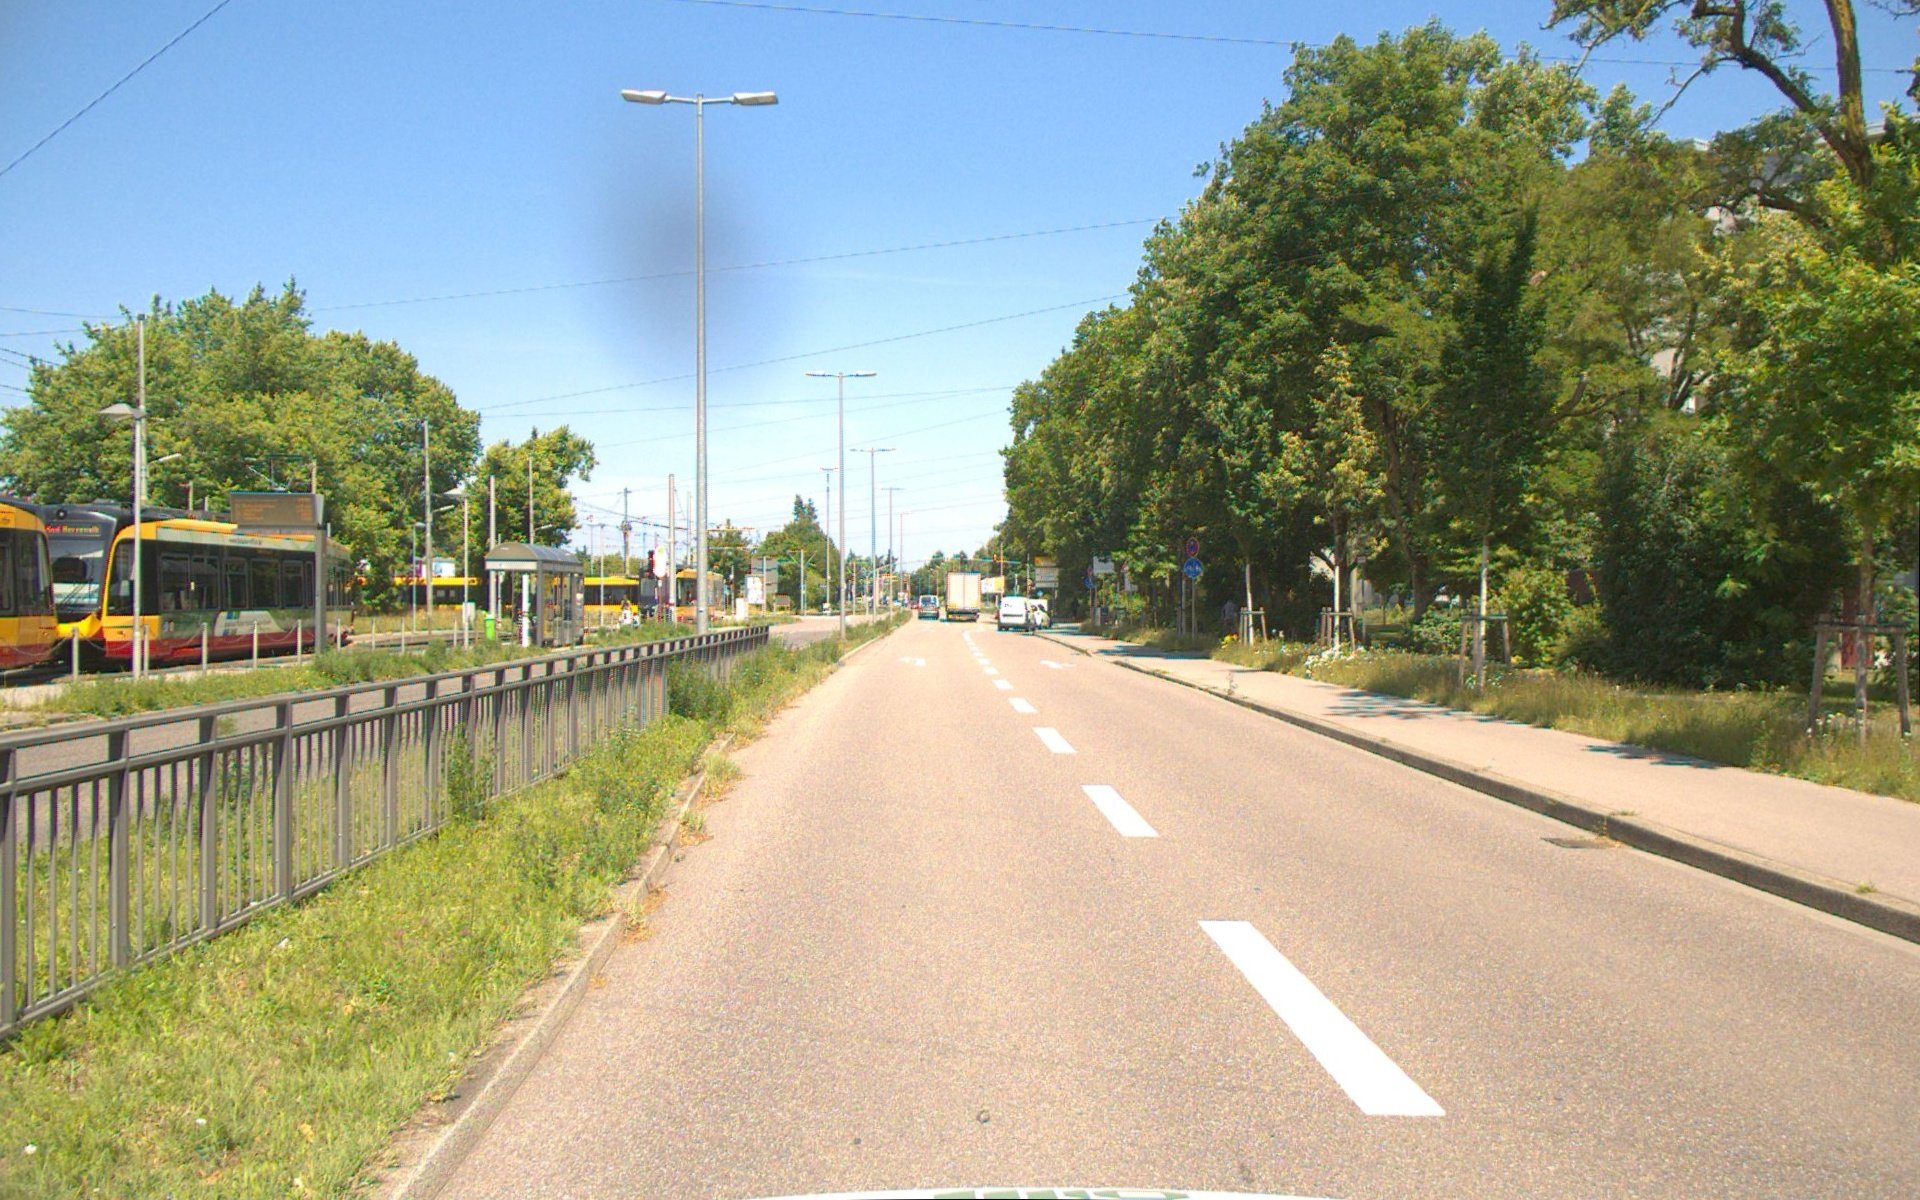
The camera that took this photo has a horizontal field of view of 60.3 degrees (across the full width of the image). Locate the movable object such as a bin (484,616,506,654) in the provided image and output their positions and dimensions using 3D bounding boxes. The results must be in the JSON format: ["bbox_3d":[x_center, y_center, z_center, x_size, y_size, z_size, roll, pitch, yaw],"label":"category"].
[{"bbox_3d":[-12.633,0.946,44.916,0.472,0.995,0.644,0,0,-5],"label":"movable object such as a bin"}]

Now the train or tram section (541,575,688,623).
[{"bbox_3d":[-27.129,-0.117,129.550,12.474,3.526,3.040,1,0,31],"label":"train or tram section"}]

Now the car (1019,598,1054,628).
[{"bbox_3d":[4.482,0.752,97.676,1.665,1.683,4.396,1,0,-2],"label":"car"}]

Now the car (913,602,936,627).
[{"bbox_3d":[-3.188,1.298,147.574,1.954,2.148,4.745,0,1,-3],"label":"car"}]

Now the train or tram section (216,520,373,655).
[{"bbox_3d":[-20.671,-0.380,52.125,2.993,3.688,12.402,1,0,-15],"label":"train or tram section"}]

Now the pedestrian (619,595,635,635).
[{"bbox_3d":[-13.570,0.616,67.480,0.524,1.593,0.582,1,0,-3],"label":"pedestrian"}]

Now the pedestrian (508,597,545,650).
[{"bbox_3d":[-13.228,0.719,50.481,0.856,1.573,1.025,1,0,-3],"label":"pedestrian"}]

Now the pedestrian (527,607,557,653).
[{"bbox_3d":[-12.236,0.875,48.419,0.687,1.306,0.839,1,0,-3],"label":"pedestrian"}]

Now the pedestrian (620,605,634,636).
[{"bbox_3d":[-13.396,0.820,66.561,0.484,1.210,0.400,1,0,-1],"label":"pedestrian"}]

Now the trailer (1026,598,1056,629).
[{"bbox_3d":[4.611,0.773,94.040,1.439,1.698,2.854,1,0,-2],"label":"trailer"}]

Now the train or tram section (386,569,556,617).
[{"bbox_3d":[-39.485,-0.538,133.693,12.941,3.526,3.048,1,0,7],"label":"train or tram section"}]

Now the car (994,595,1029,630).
[{"bbox_3d":[2.729,0.657,88.196,1.674,1.778,4.427,1,0,0],"label":"car"}]

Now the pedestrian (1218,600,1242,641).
[{"bbox_3d":[9.587,0.717,58.669,0.693,1.422,0.763,1,0,0],"label":"pedestrian"}]

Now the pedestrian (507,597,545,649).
[{"bbox_3d":[-13.533,0.717,51.589,0.912,1.573,0.985,1,0,-3],"label":"pedestrian"}]

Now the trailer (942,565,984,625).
[{"bbox_3d":[0.189,-0.399,129.850,2.770,4.499,8.745,1,0,-2],"label":"trailer"}]

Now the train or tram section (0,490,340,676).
[{"bbox_3d":[-18.881,-0.361,40.151,2.983,3.688,13.889,1,0,-3],"label":"train or tram section"}]

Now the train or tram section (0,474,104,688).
[{"bbox_3d":[-18.626,-0.363,26.526,2.982,3.833,13.259,1,0,-1],"label":"train or tram section"}]

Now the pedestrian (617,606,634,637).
[{"bbox_3d":[-13.361,0.841,66.067,0.569,1.210,0.536,1,0,-3],"label":"pedestrian"}]

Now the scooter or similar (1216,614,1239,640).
[{"bbox_3d":[9.575,0.973,59.193,0.693,0.909,0.763,1,0,0],"label":"scooter or similar"}]

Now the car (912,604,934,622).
[{"bbox_3d":[-3.149,1.097,140.627,1.854,1.395,4.428,3,0,-2],"label":"car"}]
